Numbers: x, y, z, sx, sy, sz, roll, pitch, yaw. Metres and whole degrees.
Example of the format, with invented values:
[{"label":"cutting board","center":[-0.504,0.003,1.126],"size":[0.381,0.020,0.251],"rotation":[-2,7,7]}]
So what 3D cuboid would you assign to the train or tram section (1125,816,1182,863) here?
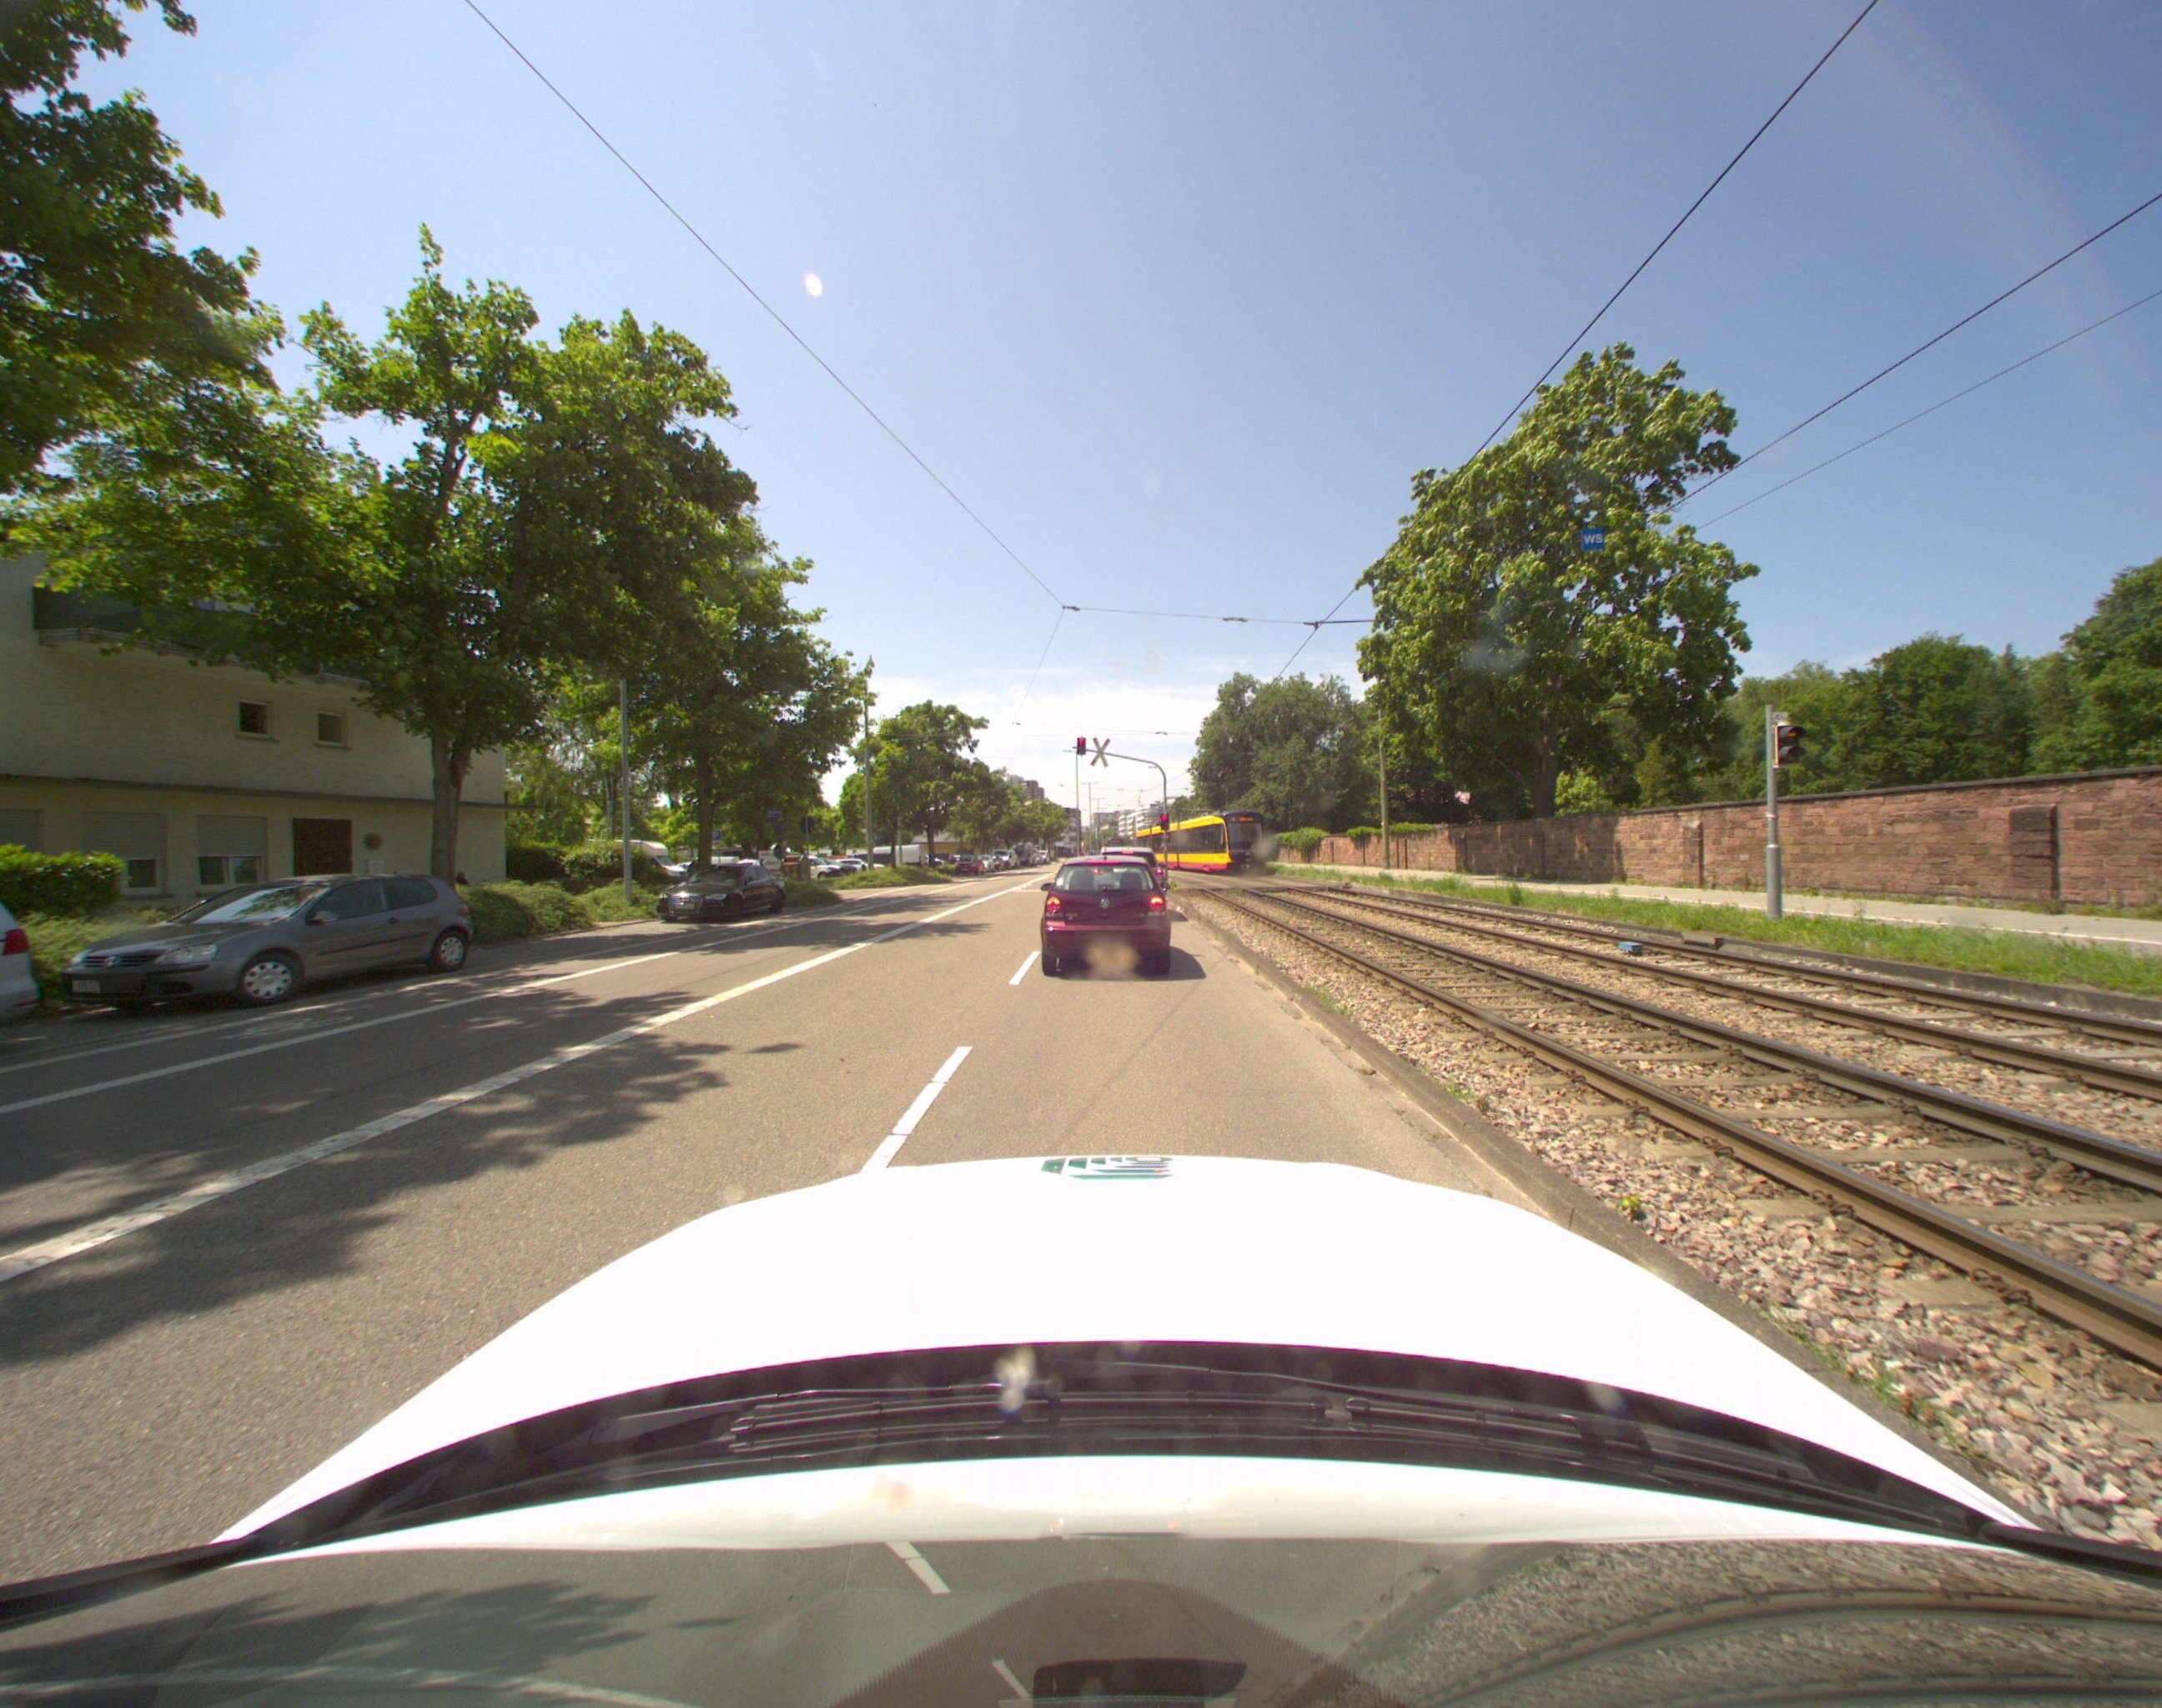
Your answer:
[{"label":"train or tram section","center":[6.329,-1.208,73.327],"size":[3.023,3.797,12.741],"rotation":[-1,0,-4]}]

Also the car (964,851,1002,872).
[{"label":"car","center":[-7.949,0.606,66.459],"size":[1.965,1.601,4.566],"rotation":[1,0,7]}]

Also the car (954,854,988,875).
[{"label":"car","center":[-8.067,0.760,59.907],"size":[1.655,1.497,4.004],"rotation":[1,0,4]}]

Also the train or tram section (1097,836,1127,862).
[{"label":"train or tram section","center":[4.411,-0.777,118.889],"size":[2.736,3.609,12.848],"rotation":[1,0,-5]}]

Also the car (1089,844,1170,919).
[{"label":"car","center":[1.108,0.590,19.881],"size":[1.770,1.647,4.001],"rotation":[0,0,1]}]

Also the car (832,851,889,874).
[{"label":"car","center":[-17.907,0.694,66.265],"size":[3.973,1.746,1.999],"rotation":[-2,0,0]}]

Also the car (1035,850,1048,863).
[{"label":"car","center":[-5.535,0.352,113.000],"size":[1.771,1.828,3.995],"rotation":[1,-1,-3]}]

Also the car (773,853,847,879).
[{"label":"car","center":[-18.387,0.826,55.315],"size":[4.319,1.585,1.917],"rotation":[-2,0,7]}]

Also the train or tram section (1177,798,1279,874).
[{"label":"train or tram section","center":[8.197,-0.948,47.599],"size":[3.021,3.797,13.078],"rotation":[-1,0,-2]}]

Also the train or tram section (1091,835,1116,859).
[{"label":"train or tram section","center":[3.490,-1.073,130.270],"size":[2.736,3.609,10.931],"rotation":[1,0,-5]}]

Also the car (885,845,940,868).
[{"label":"car","center":[-17.525,0.269,84.852],"size":[5.076,2.244,2.380],"rotation":[1,-1,3]}]

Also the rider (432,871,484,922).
[{"label":"rider","center":[-17.765,1.208,23.241],"size":[0.820,1.374,0.814],"rotation":[-2,0,10]}]

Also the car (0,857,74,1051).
[{"label":"car","center":[-10.344,0.902,5.160],"size":[1.866,1.664,4.783],"rotation":[-1,1,2]}]

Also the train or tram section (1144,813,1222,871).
[{"label":"train or tram section","center":[7.303,-0.851,60.577],"size":[3.023,3.797,13.067],"rotation":[-1,0,-5]}]

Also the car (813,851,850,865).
[{"label":"car","center":[-31.247,0.529,102.118],"size":[4.006,1.617,1.816],"rotation":[1,-1,0]}]

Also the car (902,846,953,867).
[{"label":"car","center":[-17.029,0.320,90.502],"size":[5.076,2.244,2.380],"rotation":[1,-1,3]}]

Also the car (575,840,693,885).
[{"label":"car","center":[-31.184,0.593,56.998],"size":[6.828,2.965,2.364],"rotation":[1,-1,0]}]

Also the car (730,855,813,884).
[{"label":"car","center":[-19.104,0.931,50.440],"size":[4.329,1.585,1.912],"rotation":[-2,0,-1]}]

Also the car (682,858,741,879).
[{"label":"car","center":[-30.340,1.168,66.958],"size":[3.982,1.653,1.812],"rotation":[1,-1,-7]}]

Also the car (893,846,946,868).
[{"label":"car","center":[-17.424,0.295,88.039],"size":[5.076,2.244,2.380],"rotation":[1,-1,3]}]

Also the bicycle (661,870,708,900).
[{"label":"bicycle","center":[-14.650,1.132,30.152],"size":[0.697,1.029,1.832],"rotation":[1,-1,5]}]

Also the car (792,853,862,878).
[{"label":"car","center":[-18.153,0.804,58.232],"size":[4.319,1.585,1.917],"rotation":[-2,0,8]}]

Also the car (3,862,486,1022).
[{"label":"car","center":[-10.127,0.920,10.461],"size":[1.812,1.564,4.183],"rotation":[0,0,1]}]

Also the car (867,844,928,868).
[{"label":"car","center":[-17.257,0.197,76.709],"size":[5.076,2.244,2.380],"rotation":[1,-1,3]}]

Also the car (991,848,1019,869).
[{"label":"car","center":[-7.160,0.459,76.687],"size":[1.774,1.881,4.792],"rotation":[1,0,5]}]

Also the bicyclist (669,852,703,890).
[{"label":"bicyclist","center":[-14.622,0.615,30.171],"size":[0.805,1.374,0.829],"rotation":[1,-1,5]}]

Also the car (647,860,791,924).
[{"label":"car","center":[-9.659,0.945,22.166],"size":[1.812,1.476,4.451],"rotation":[0,0,2]}]

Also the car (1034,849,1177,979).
[{"label":"car","center":[0.333,0.693,11.571],"size":[1.666,1.521,4.001],"rotation":[0,0,1]}]

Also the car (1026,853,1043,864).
[{"label":"car","center":[-6.073,0.611,107.004],"size":[1.606,1.441,4.006],"rotation":[1,0,6]}]

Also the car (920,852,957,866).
[{"label":"car","center":[-17.082,0.578,97.511],"size":[4.003,1.617,1.818],"rotation":[1,-1,3]}]

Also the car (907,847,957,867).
[{"label":"car","center":[-17.007,0.341,93.204],"size":[5.076,2.244,2.380],"rotation":[1,-1,3]}]

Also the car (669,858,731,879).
[{"label":"car","center":[-30.147,1.151,64.532],"size":[3.982,1.653,1.812],"rotation":[1,-1,-7]}]

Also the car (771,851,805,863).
[{"label":"car","center":[-40.559,0.396,112.692],"size":[4.003,1.617,1.818],"rotation":[1,-1,3]}]

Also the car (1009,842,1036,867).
[{"label":"car","center":[-6.386,0.084,89.722],"size":[2.352,2.692,5.311],"rotation":[1,-1,3]}]
